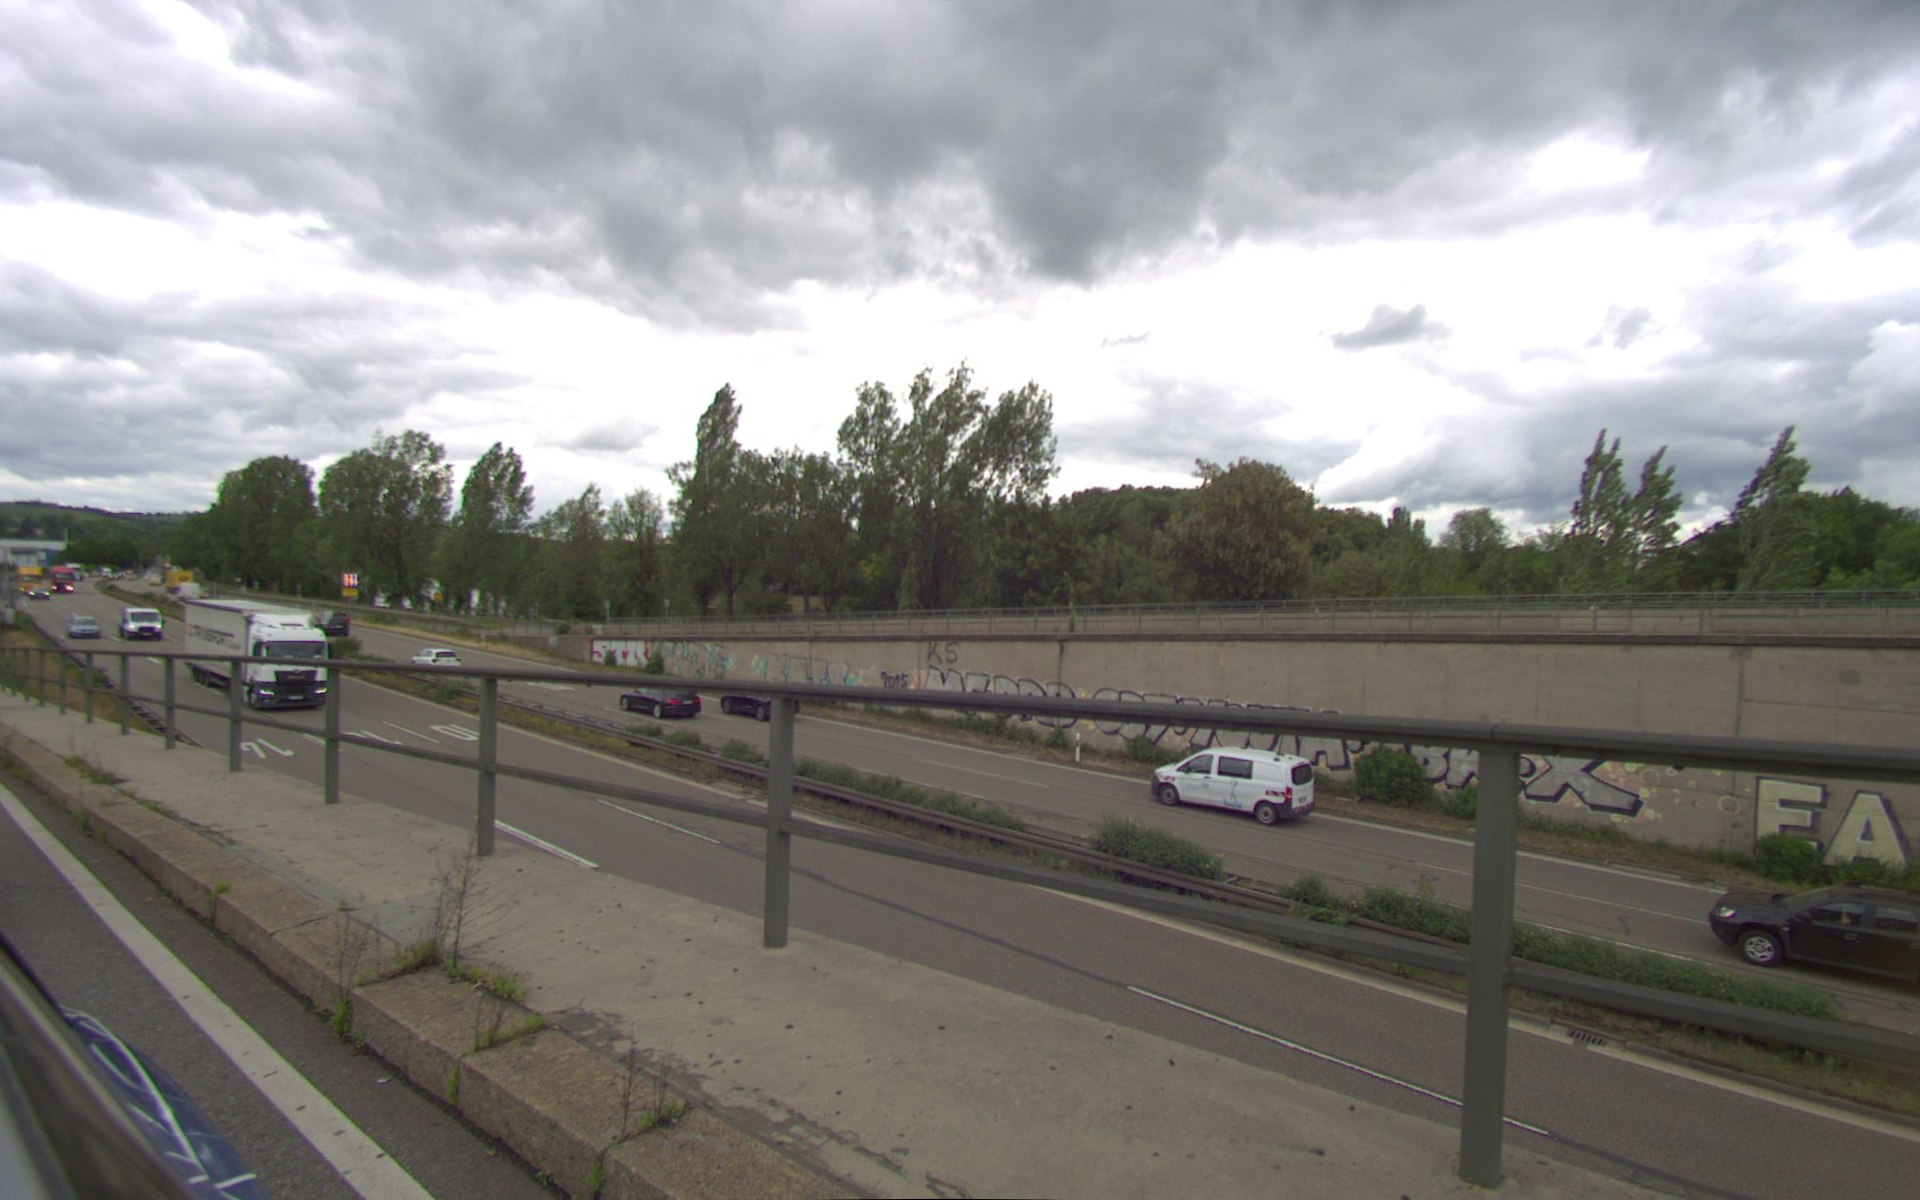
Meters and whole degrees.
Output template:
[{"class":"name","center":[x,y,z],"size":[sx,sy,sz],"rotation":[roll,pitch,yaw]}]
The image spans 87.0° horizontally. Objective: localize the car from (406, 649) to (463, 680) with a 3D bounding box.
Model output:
[{"class":"car","center":[-30.888,3.773,59.473],"size":[3.899,1.505,1.754],"rotation":[2,-1,44]}]

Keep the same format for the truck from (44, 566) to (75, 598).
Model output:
[{"class":"truck","center":[-142.271,-2.814,159.867],"size":[9.922,4.774,2.717],"rotation":[2,-2,44]}]

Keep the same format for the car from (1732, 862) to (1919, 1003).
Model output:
[{"class":"car","center":[16.607,6.102,18.372],"size":[3.998,1.633,1.648],"rotation":[2,0,41]}]

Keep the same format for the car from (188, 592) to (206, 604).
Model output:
[{"class":"car","center":[-115.598,-0.269,153.372],"size":[3.775,1.664,1.640],"rotation":[2,0,45]}]

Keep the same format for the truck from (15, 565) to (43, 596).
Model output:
[{"class":"truck","center":[-132.775,-2.842,144.350],"size":[8.175,4.153,2.382],"rotation":[3,1,44]}]

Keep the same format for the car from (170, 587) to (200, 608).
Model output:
[{"class":"car","center":[-107.426,-0.387,140.322],"size":[6.101,2.613,2.144],"rotation":[3,1,42]}]

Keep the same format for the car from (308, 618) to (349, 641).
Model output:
[{"class":"car","center":[-52.852,2.447,84.695],"size":[4.183,1.731,1.861],"rotation":[2,0,43]}]

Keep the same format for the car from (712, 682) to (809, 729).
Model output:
[{"class":"car","center":[-9.301,4.849,46.967],"size":[4.577,1.638,1.973],"rotation":[2,-1,41]}]

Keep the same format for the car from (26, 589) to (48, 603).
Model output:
[{"class":"car","center":[-116.474,-0.531,127.723],"size":[4.002,1.679,1.786],"rotation":[3,1,44]}]

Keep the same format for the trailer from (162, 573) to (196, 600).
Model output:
[{"class":"trailer","center":[-137.565,-2.449,178.185],"size":[3.203,4.294,13.691],"rotation":[2,0,-44]}]

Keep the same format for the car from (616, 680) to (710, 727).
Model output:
[{"class":"car","center":[-13.627,4.669,46.306],"size":[4.577,1.638,1.973],"rotation":[2,-1,41]}]

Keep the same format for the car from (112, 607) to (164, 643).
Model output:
[{"class":"car","center":[-60.576,1.819,74.492],"size":[6.502,2.259,2.076],"rotation":[3,0,43]}]

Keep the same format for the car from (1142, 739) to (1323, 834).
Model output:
[{"class":"car","center":[8.144,5.518,30.538],"size":[4.908,1.921,1.927],"rotation":[2,0,41]}]

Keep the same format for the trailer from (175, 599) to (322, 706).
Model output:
[{"class":"trailer","center":[-34.797,2.289,49.117],"size":[13.991,4.140,2.970],"rotation":[2,0,43]}]

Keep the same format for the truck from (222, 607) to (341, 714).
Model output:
[{"class":"truck","center":[-29.824,2.523,44.402],"size":[5.875,4.140,2.970],"rotation":[2,0,43]}]

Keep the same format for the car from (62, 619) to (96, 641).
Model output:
[{"class":"car","center":[-63.706,2.162,73.149],"size":[3.538,1.383,1.492],"rotation":[3,0,43]}]
